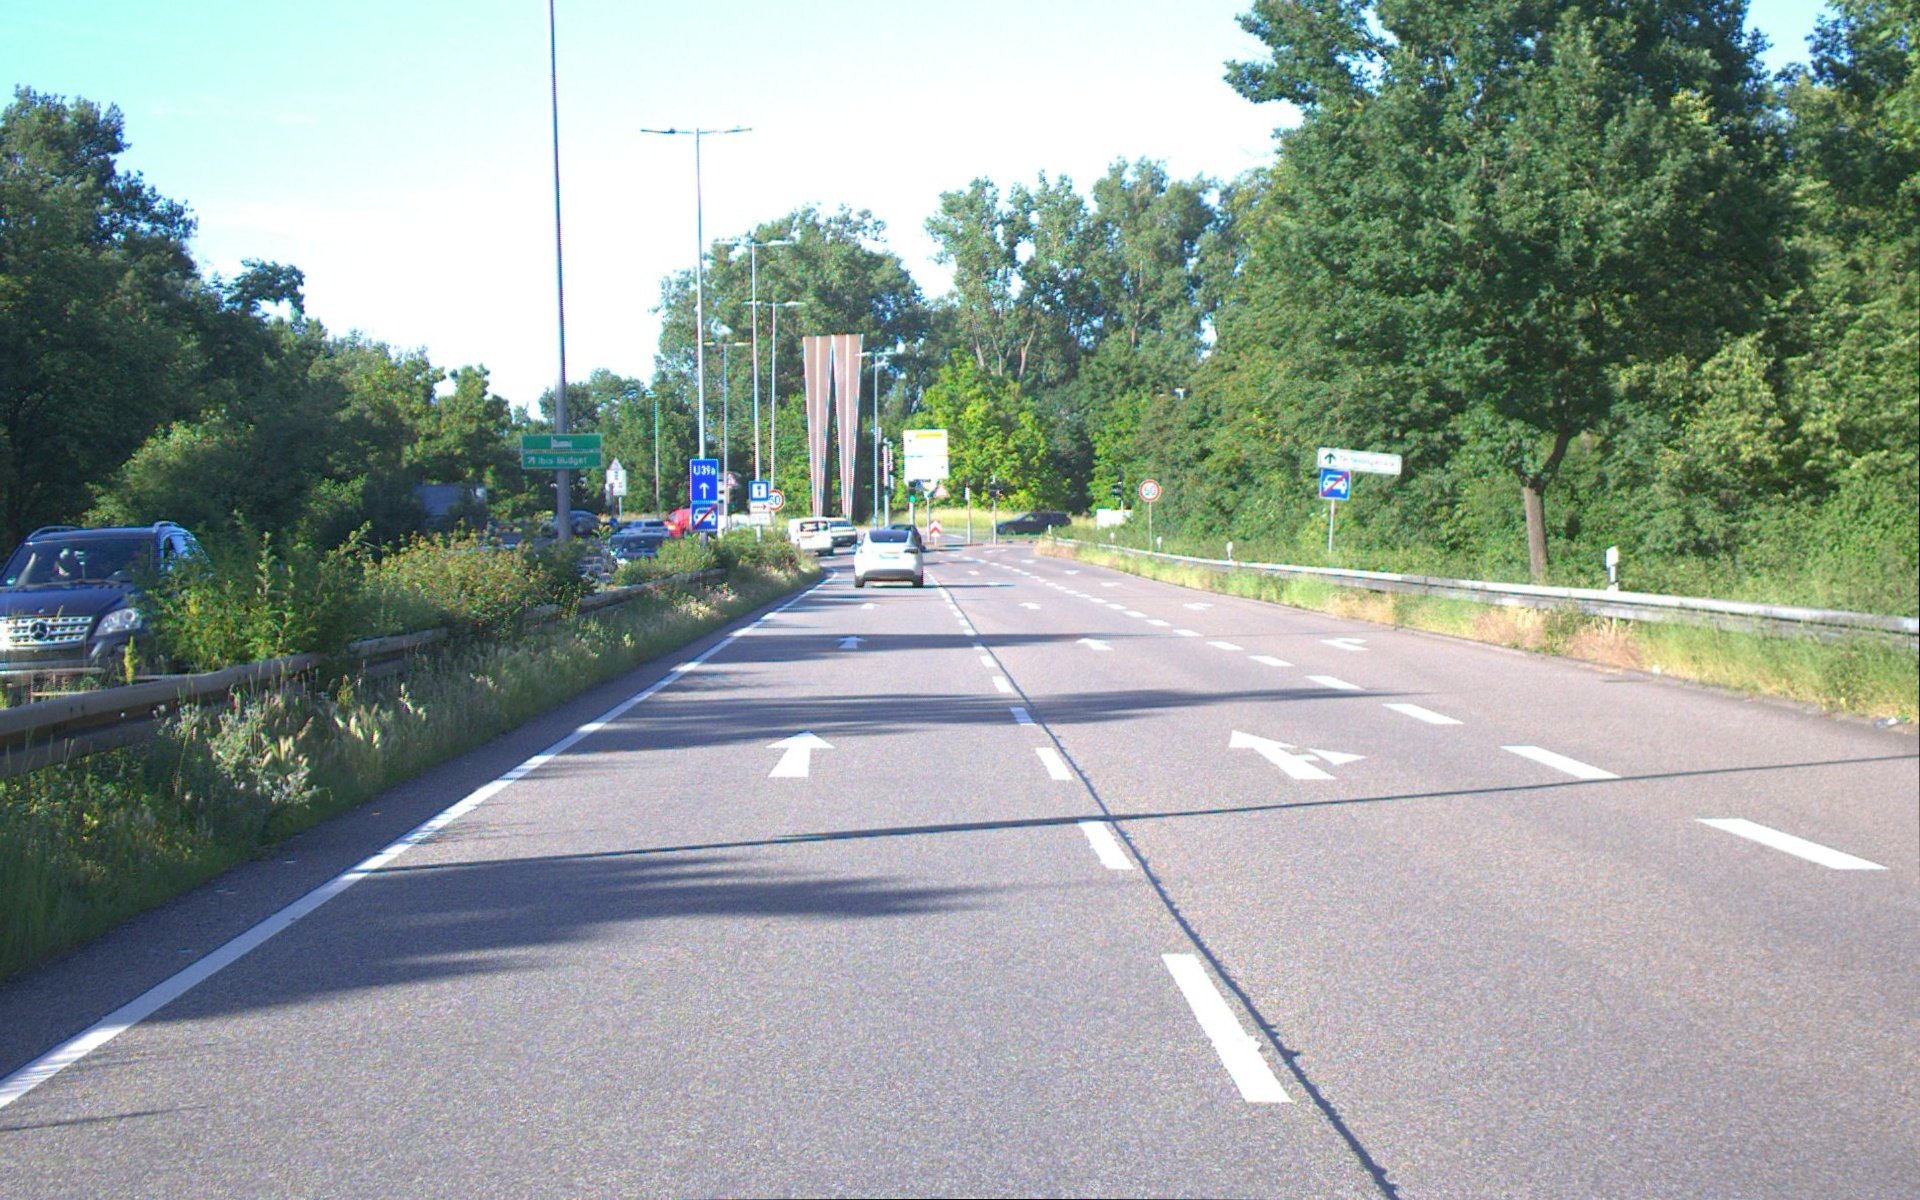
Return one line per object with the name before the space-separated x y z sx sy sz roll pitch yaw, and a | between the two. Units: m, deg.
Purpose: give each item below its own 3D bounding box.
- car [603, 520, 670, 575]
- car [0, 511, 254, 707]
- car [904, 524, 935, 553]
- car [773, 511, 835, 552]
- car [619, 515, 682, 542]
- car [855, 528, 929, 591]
car | -10.503 -1.728 111.806 1.785 1.704 4.547 -1 1 -1
car | -8.272 0.031 33.547 1.841 1.751 4.712 -1 1 -1
car | -1.912 -2.901 162.830 1.388 1.276 2.987 2 0 -1
car | -7.495 -3.294 164.974 1.993 1.873 4.251 -2 2 -16
car | -17.761 -4.081 196.900 2.266 1.503 4.001 -2 2 -26
car | -1.929 -1.151 96.726 1.993 1.634 4.129 -1 2 -1
